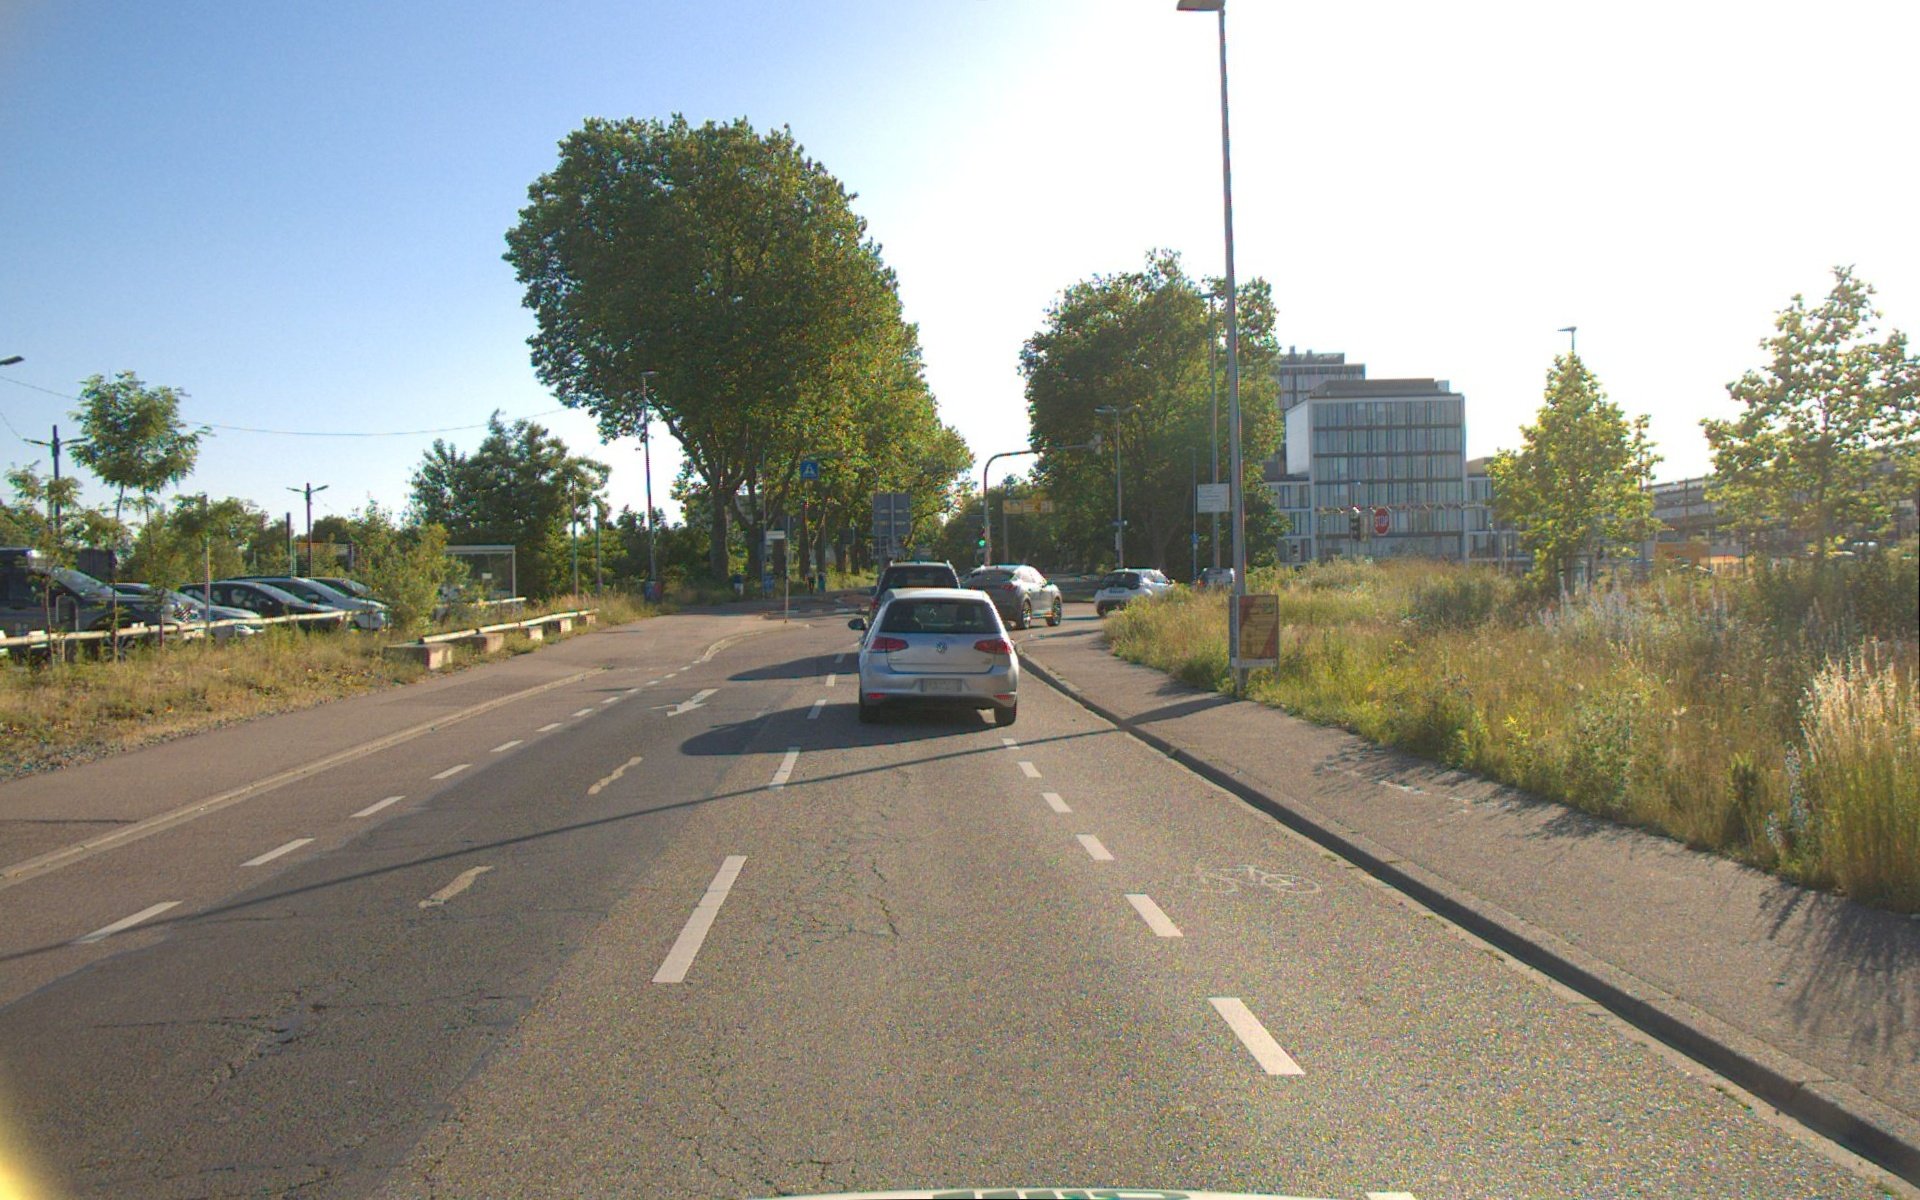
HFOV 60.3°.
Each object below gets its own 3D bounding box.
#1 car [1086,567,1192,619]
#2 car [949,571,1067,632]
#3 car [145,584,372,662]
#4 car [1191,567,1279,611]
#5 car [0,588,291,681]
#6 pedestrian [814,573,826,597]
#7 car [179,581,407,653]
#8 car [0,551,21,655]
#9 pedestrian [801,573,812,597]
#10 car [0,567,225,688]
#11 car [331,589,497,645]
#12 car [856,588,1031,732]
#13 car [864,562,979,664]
[{"bbox_3d":[5.903,-0.236,54.260,1.865,1.624,3.988,0,1,33],"label":"car"},{"bbox_3d":[1.359,0.014,44.482,1.874,1.556,4.408,0,1,20],"label":"car"},{"bbox_3d":[-14.839,0.462,35.158,4.007,1.585,1.877,0,1,-4],"label":"car"},{"bbox_3d":[11.054,-0.446,66.222,2.125,1.713,3.990,0,1,32],"label":"car"},{"bbox_3d":[-14.699,0.591,29.742,4.503,1.585,1.999,0,1,-4],"label":"car"},{"bbox_3d":[-8.617,-0.927,101.754,0.665,1.439,0.684,0,0,-3],"label":"pedestrian"},{"bbox_3d":[-15.231,0.361,37.944,4.452,1.585,1.877,0,1,-4],"label":"car"},{"bbox_3d":[-25.495,0.101,39.430,4.829,2.502,2.318,0,0,-4],"label":"car"},{"bbox_3d":[-9.437,-0.921,101.793,0.665,1.439,0.684,0,0,-3],"label":"pedestrian"},{"bbox_3d":[-14.723,0.418,26.744,4.749,1.867,1.999,0,1,-4],"label":"car"},{"bbox_3d":[-16.177,0.487,49.196,4.338,1.585,1.877,0,1,-4],"label":"car"},{"bbox_3d":[-0.292,0.599,19.051,1.755,1.445,3.997,0,1,-4],"label":"car"},{"bbox_3d":[-0.670,0.206,31.896,1.781,1.799,4.632,0,1,4],"label":"car"}]
